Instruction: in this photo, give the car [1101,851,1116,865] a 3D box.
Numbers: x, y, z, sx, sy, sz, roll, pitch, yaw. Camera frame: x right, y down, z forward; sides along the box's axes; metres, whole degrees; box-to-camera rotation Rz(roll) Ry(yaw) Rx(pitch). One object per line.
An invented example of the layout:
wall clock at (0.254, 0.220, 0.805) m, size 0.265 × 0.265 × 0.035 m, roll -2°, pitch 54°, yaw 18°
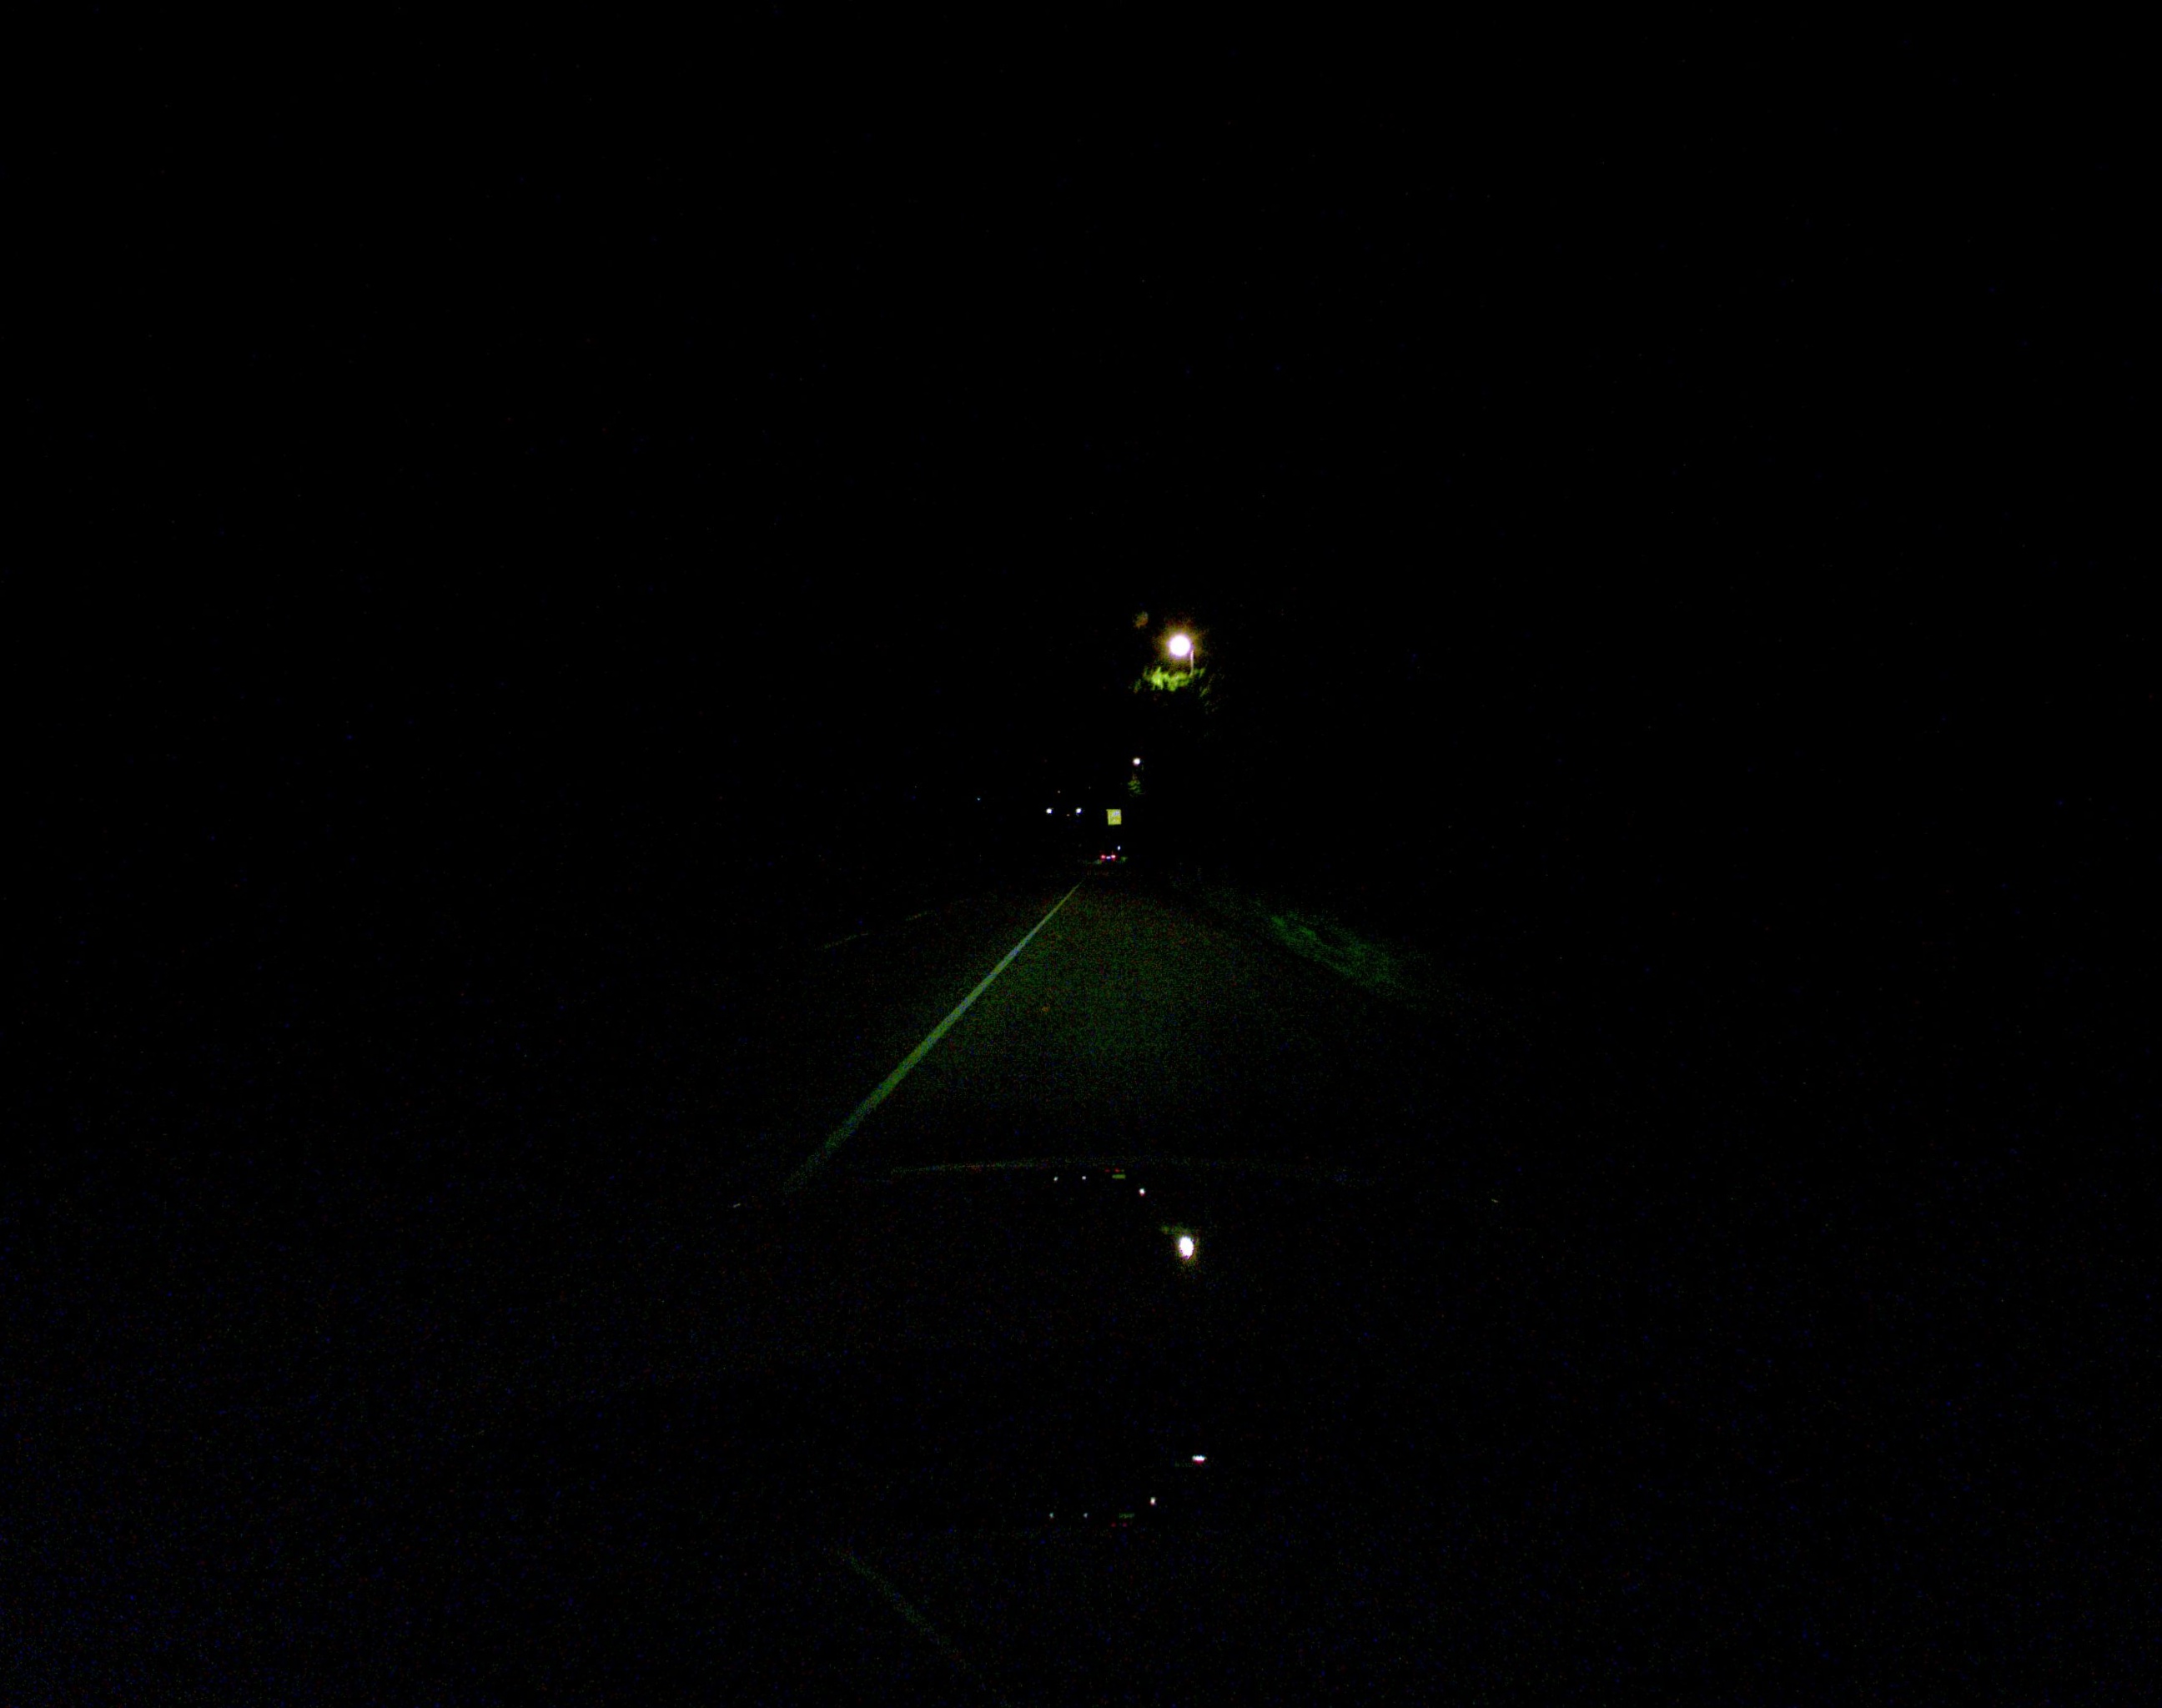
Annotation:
car at (3.552, 0.449, 104.740) m, size 1.755 × 1.641 × 3.728 m, roll -1°, pitch 1°, yaw 5°
